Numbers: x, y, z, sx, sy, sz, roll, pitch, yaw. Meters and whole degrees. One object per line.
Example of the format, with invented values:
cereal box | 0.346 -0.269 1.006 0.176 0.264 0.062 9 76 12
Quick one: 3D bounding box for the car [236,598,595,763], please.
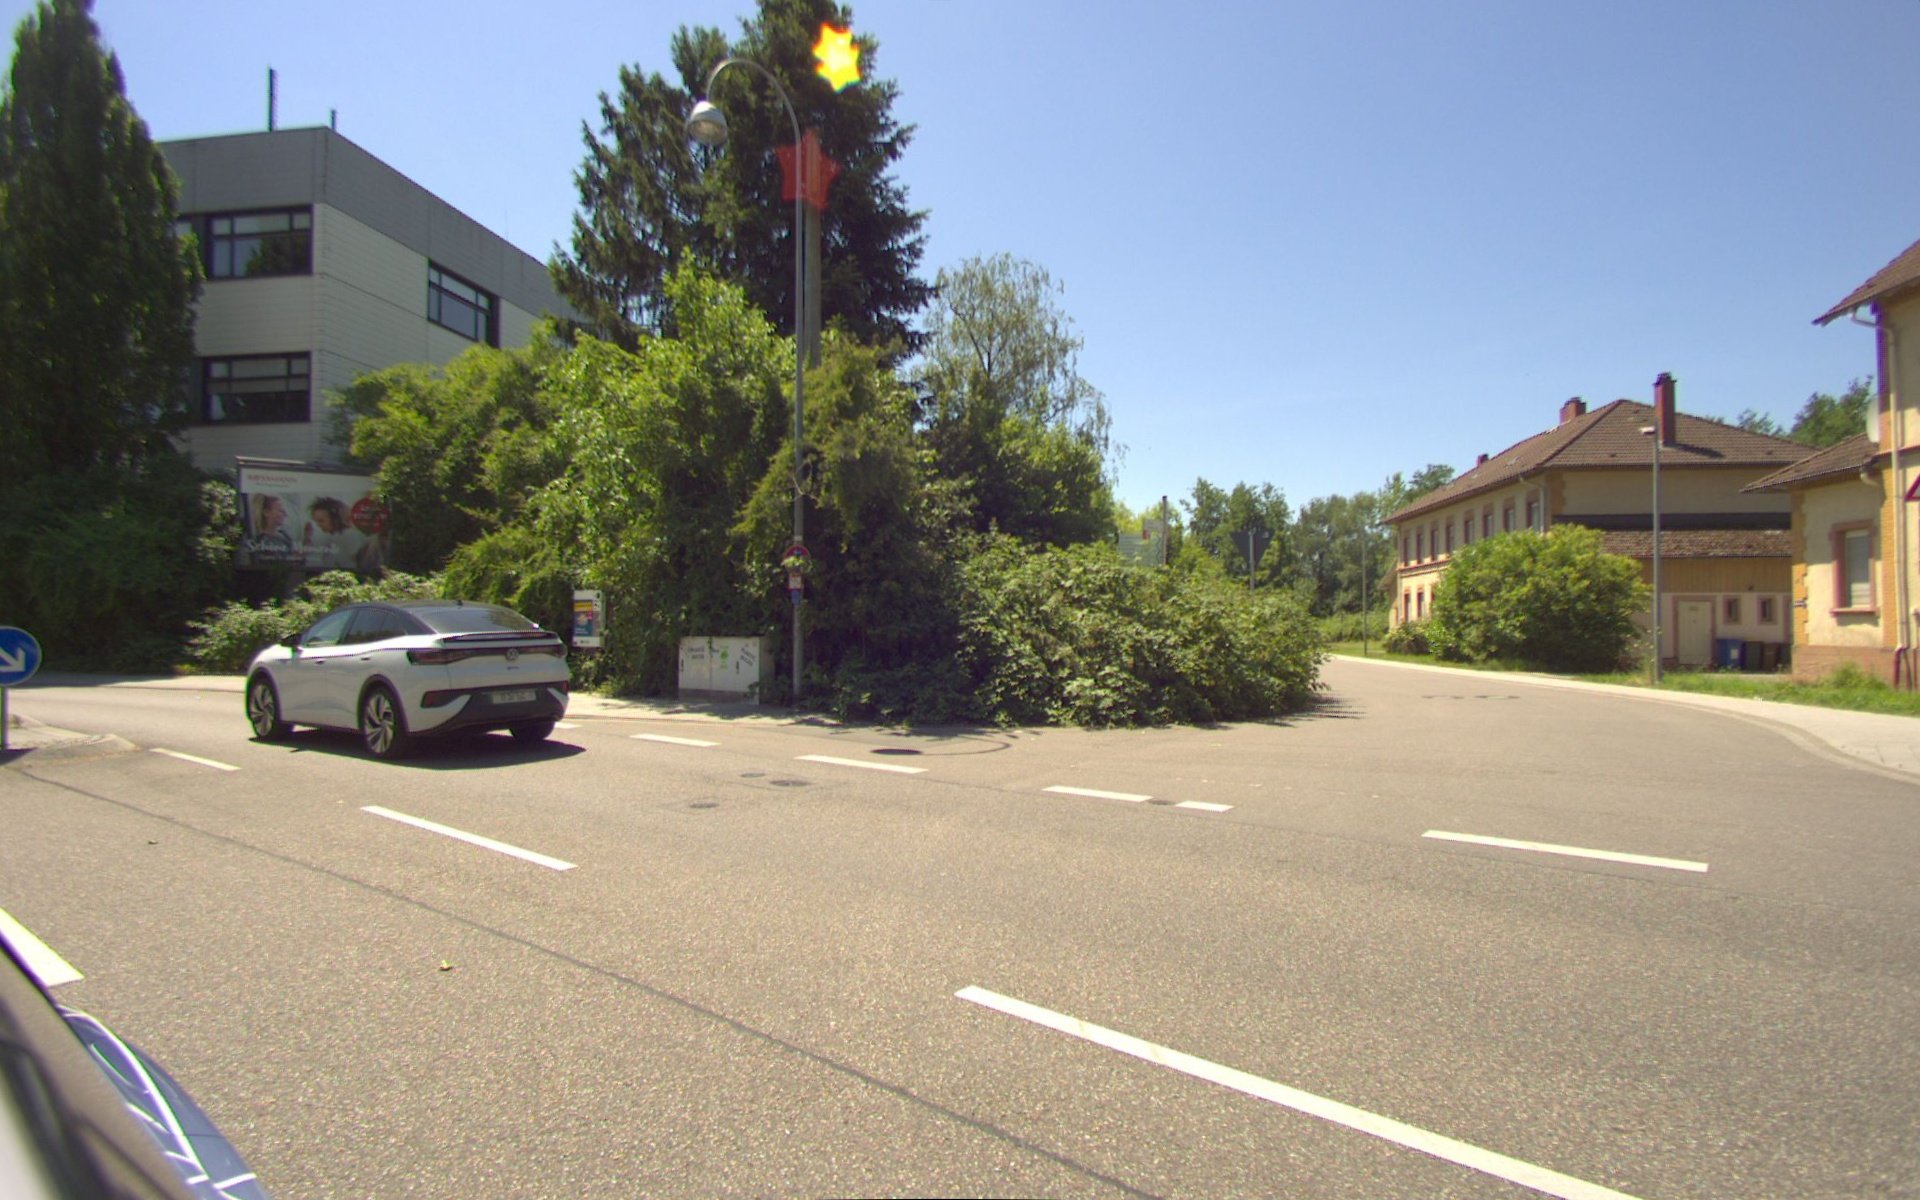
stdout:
car | -6.249 0.820 11.458 4.328 1.542 1.829 -2 -2 35
